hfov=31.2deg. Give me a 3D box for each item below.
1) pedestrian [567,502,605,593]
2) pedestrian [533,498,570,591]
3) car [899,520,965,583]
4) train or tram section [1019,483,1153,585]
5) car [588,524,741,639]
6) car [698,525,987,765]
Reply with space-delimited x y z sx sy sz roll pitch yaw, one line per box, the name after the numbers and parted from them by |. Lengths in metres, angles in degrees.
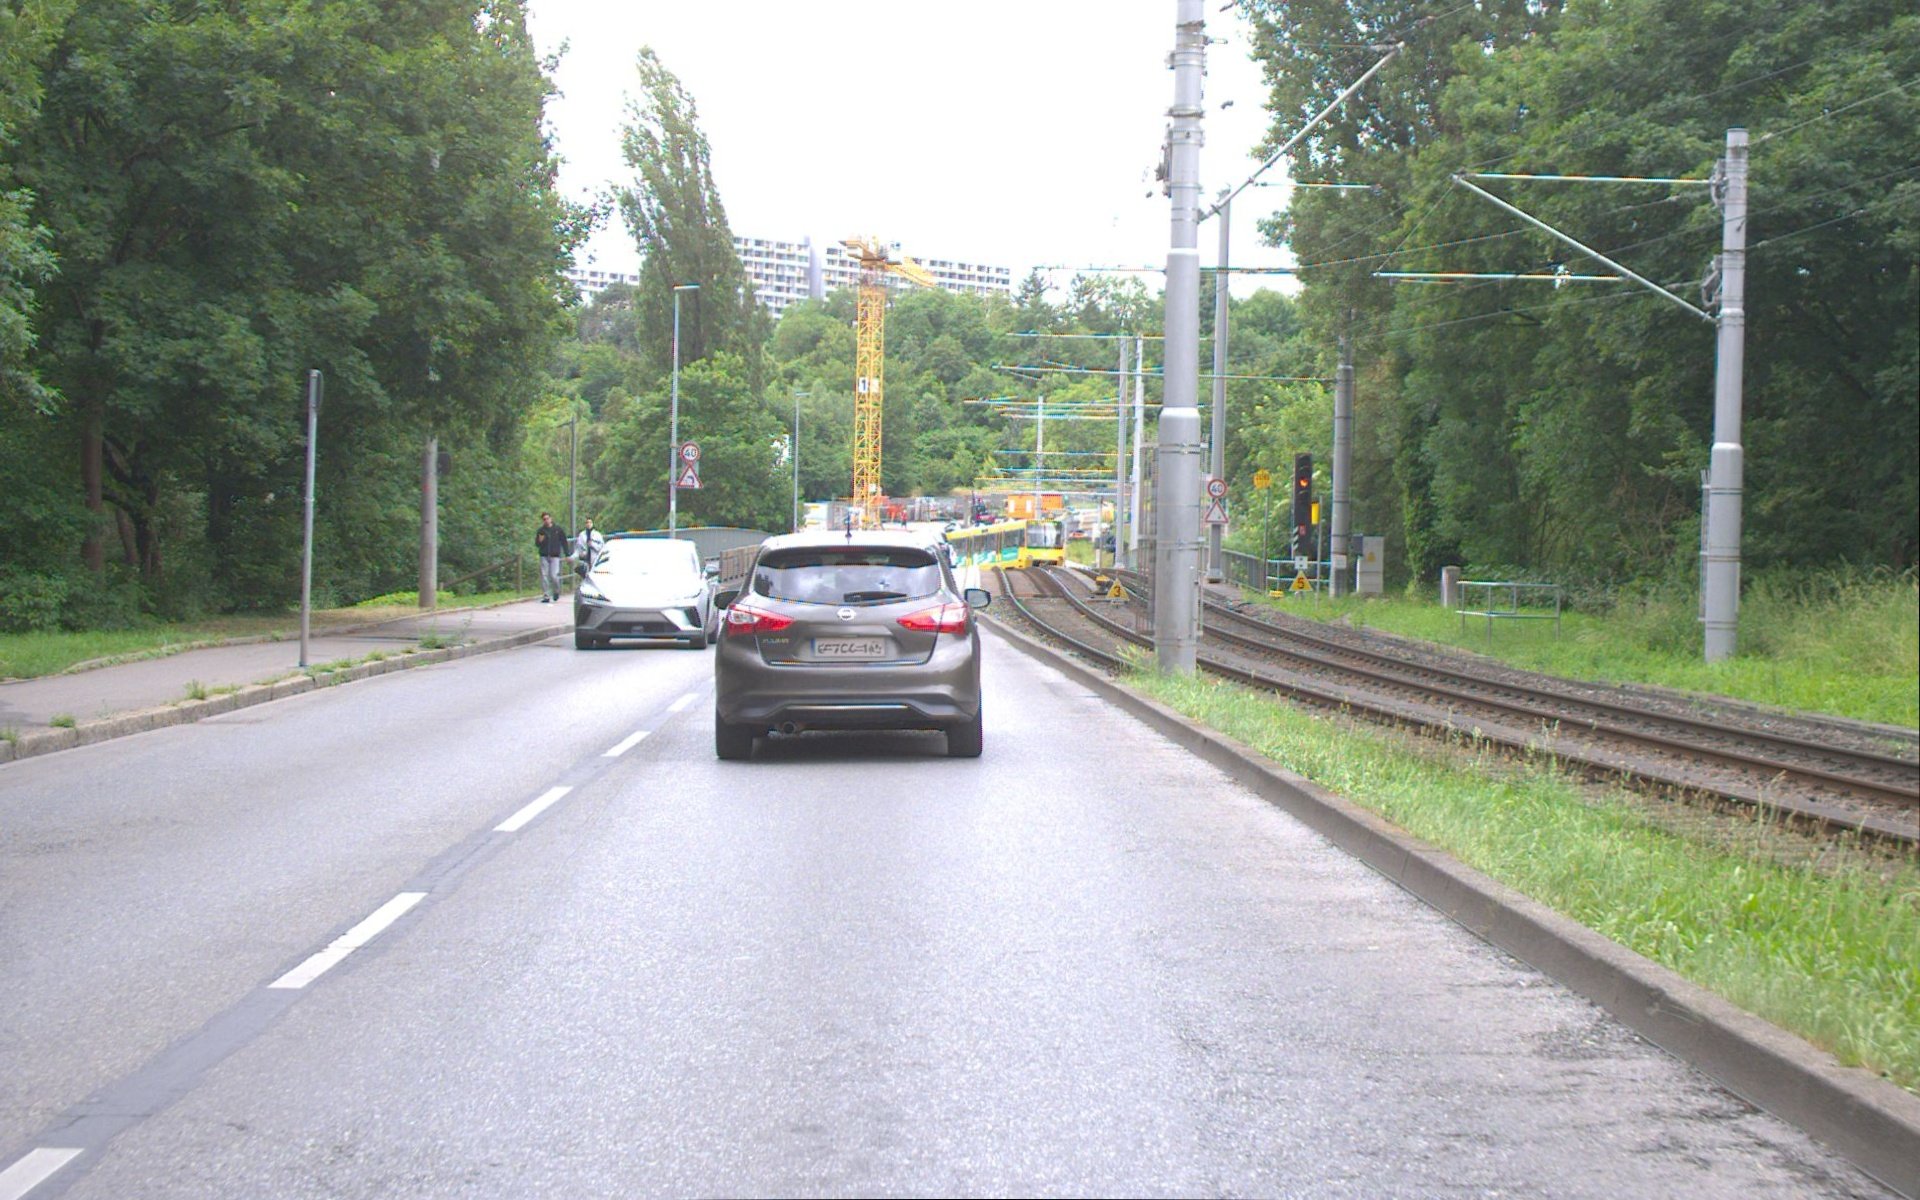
-7.389 -1.040 67.946 0.551 1.759 0.858 5 1 -1 | pedestrian
-8.071 -1.104 67.931 0.587 1.797 0.822 2 1 -1 | pedestrian
-0.729 -1.315 91.924 1.680 1.601 4.309 2 1 0 | car
7.033 -3.649 197.994 3.027 5.164 23.060 3 -1 -9 | train or tram section
-4.078 -0.294 48.038 1.794 1.487 4.180 -1 2 -1 | car
-0.852 0.246 23.935 1.829 1.504 4.001 1 1 -3 | car
